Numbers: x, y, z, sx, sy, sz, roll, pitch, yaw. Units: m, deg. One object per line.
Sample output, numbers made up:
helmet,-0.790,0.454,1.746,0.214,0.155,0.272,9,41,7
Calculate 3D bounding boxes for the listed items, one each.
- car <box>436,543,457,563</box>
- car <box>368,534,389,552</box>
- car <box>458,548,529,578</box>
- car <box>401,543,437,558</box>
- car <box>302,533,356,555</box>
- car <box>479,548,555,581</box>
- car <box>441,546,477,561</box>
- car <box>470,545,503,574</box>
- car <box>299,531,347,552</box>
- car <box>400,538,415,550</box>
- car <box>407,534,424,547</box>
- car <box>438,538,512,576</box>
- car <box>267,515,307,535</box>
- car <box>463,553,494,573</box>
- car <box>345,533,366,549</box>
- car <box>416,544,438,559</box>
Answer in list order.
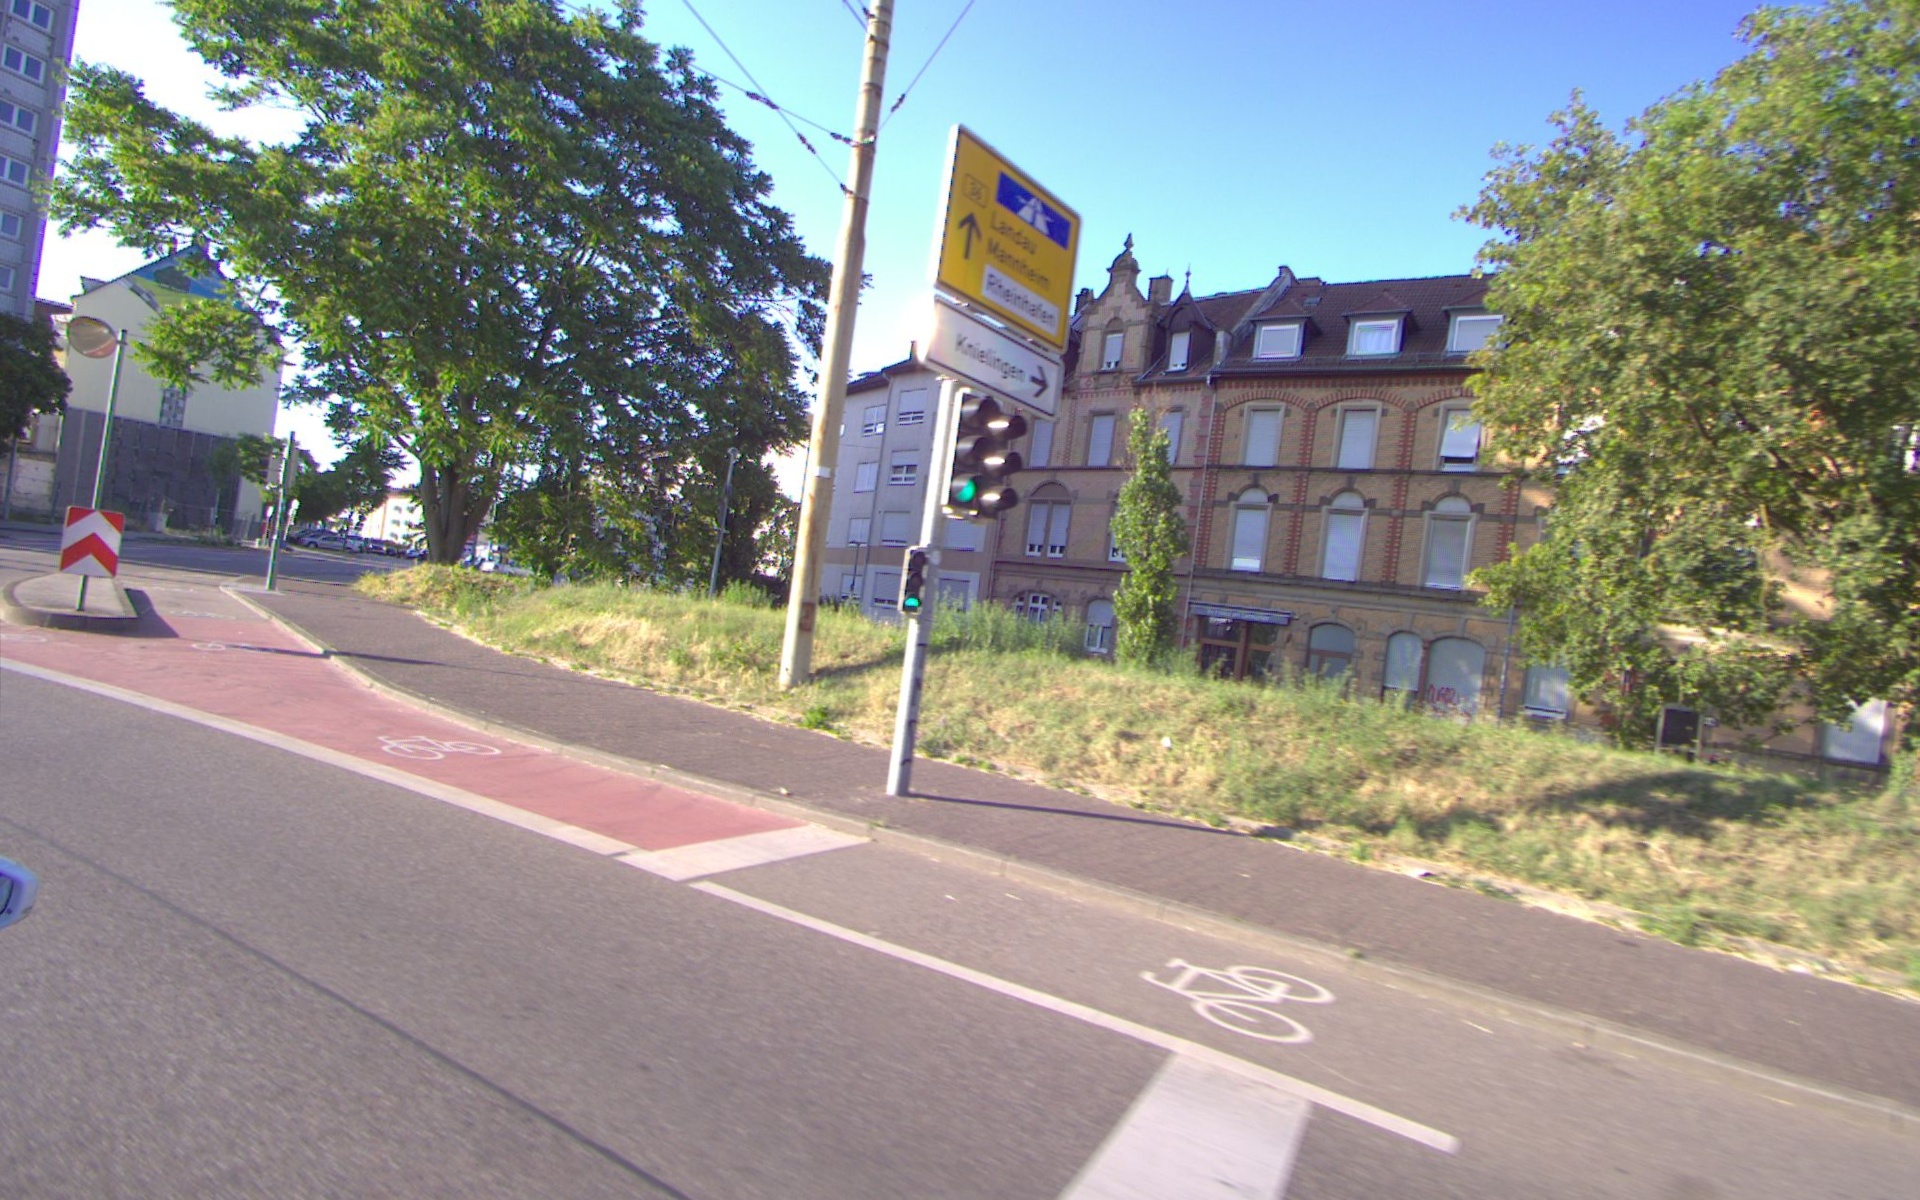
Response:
car,-57.222,-5.207,112.070,1.843,1.927,3.973,7,0,-27
car,-70.711,-6.937,122.446,1.843,1.927,3.972,7,0,-28
car,-31.832,-2.530,68.733,1.872,1.443,3.992,6,-1,32
car,-74.011,-6.717,137.643,4.022,1.476,1.863,8,-1,-34
car,-53.696,-4.789,85.651,3.681,1.316,1.497,8,-1,-36
car,-29.342,-2.355,66.725,1.753,1.582,4.212,7,-1,37
car,-68.230,-6.366,136.968,4.022,1.476,1.863,8,-1,-34
car,-39.073,-3.331,82.957,1.979,2.037,3.970,9,-1,-29
car,-58.139,-5.313,91.863,3.528,1.366,1.690,8,-1,-37
car,-85.474,-8.725,155.613,1.845,1.562,3.968,7,0,-31
car,-77.780,-8.495,143.697,1.845,1.562,3.848,7,0,-31
car,-34.368,-3.028,71.356,1.967,2.038,4.217,7,-1,33
car,-85.313,-9.434,127.574,3.959,1.927,1.849,8,0,-32
car,-44.247,-3.416,92.368,1.872,1.401,3.964,9,-2,-33
car,-66.997,-6.533,111.520,1.860,1.476,3.755,7,0,-32
car,-67.514,-6.176,127.314,1.917,1.562,3.963,7,0,-34
